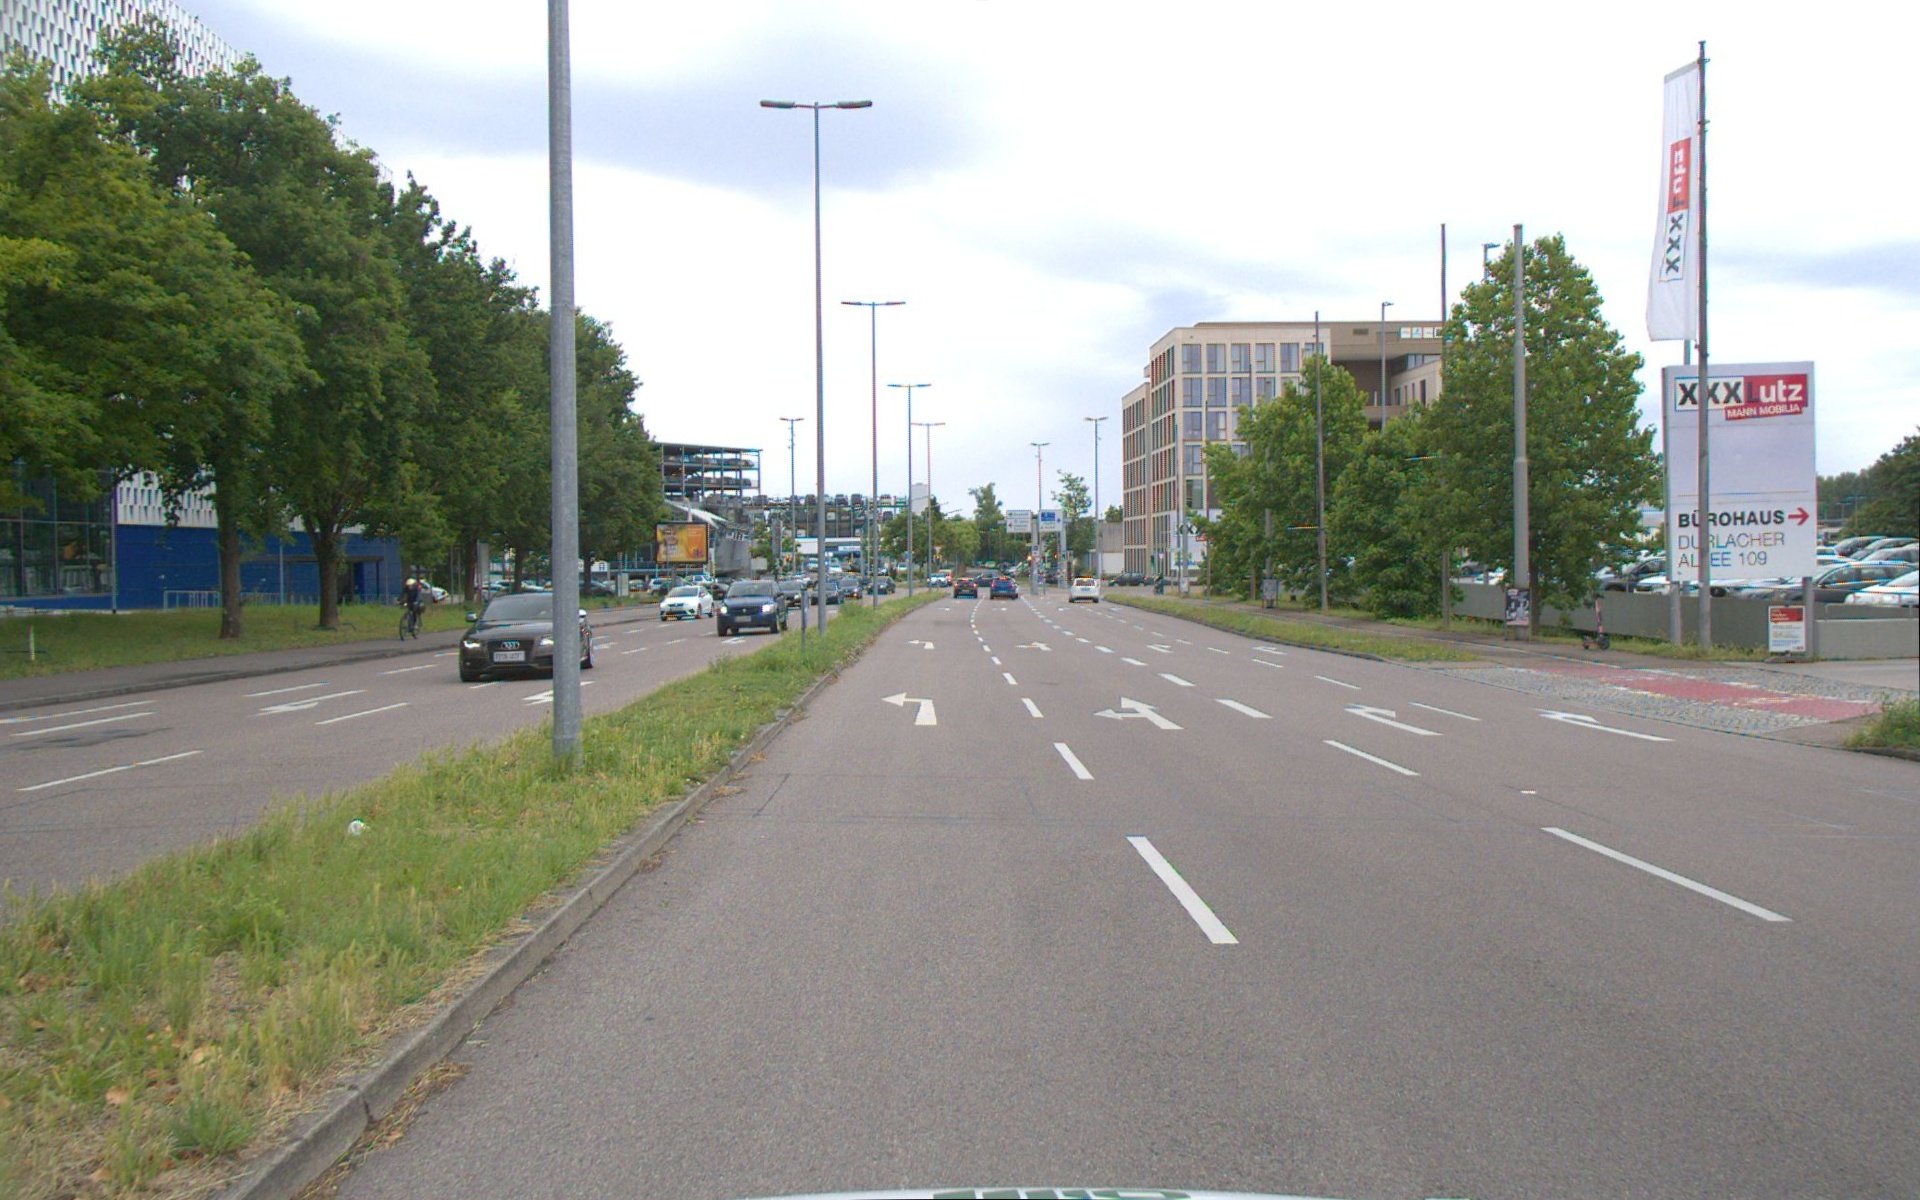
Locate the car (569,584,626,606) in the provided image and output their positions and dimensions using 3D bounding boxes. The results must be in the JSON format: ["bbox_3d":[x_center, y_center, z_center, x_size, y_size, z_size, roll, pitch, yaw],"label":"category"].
[{"bbox_3d":[-30.695,-0.401,140.270,4.456,1.688,1.998,-2,2,-6],"label":"car"}]

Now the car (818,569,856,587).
[{"bbox_3d":[-12.771,-2.294,171.651,3.908,1.821,1.846,-1,3,-4],"label":"car"}]

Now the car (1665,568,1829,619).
[{"bbox_3d":[23.096,-0.197,48.622,3.972,1.373,1.835,-1,3,-2],"label":"car"}]

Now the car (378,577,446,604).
[{"bbox_3d":[-46.139,-0.829,139.421,5.031,1.997,1.880,-1,4,-4],"label":"car"}]

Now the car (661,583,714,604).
[{"bbox_3d":[-23.234,-0.567,140.970,4.331,1.689,1.997,-1,0,-6],"label":"car"}]

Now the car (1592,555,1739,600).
[{"bbox_3d":[23.188,-0.766,54.447,4.068,1.373,1.810,-1,3,-2],"label":"car"}]

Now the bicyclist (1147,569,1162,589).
[{"bbox_3d":[15.090,-1.635,128.200,0.694,1.530,0.988,-1,2,-36],"label":"bicyclist"}]

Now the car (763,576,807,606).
[{"bbox_3d":[-9.135,-0.494,86.585,1.722,1.478,4.001,-3,1,1],"label":"car"}]

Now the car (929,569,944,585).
[{"bbox_3d":[-2.487,-2.437,175.391,1.567,1.478,3.325,-1,3,1],"label":"car"}]

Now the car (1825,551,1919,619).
[{"bbox_3d":[23.050,-0.384,38.985,4.284,1.486,1.962,-1,3,1],"label":"car"}]

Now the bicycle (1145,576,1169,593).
[{"bbox_3d":[15.226,-1.206,128.029,0.694,1.318,1.986,-1,2,-35],"label":"bicycle"}]

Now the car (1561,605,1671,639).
[{"bbox_3d":[27.745,0.907,70.022,3.972,1.374,1.763,0,1,-2],"label":"car"}]

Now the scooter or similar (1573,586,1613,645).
[{"bbox_3d":[13.594,0.320,35.557,0.362,1.211,1.248,-1,1,-1],"label":"scooter or similar"}]

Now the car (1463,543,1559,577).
[{"bbox_3d":[22.787,-1.675,68.433,3.445,1.330,1.605,-1,3,-6],"label":"car"}]

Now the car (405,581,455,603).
[{"bbox_3d":[-45.847,-0.682,143.124,3.685,1.776,1.880,-1,3,-3],"label":"car"}]

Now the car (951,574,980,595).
[{"bbox_3d":[0.364,-1.115,119.495,1.947,1.453,4.240,-1,0,-1],"label":"car"}]

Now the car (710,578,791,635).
[{"bbox_3d":[-6.117,0.152,48.720,1.892,1.511,4.438,-2,1,-2],"label":"car"}]

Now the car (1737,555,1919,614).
[{"bbox_3d":[23.295,-0.419,43.984,4.373,1.443,1.868,-1,3,1],"label":"car"}]

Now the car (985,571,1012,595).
[{"bbox_3d":[2.656,-1.207,114.789,1.797,1.540,4.001,0,2,0],"label":"car"}]

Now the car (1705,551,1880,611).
[{"bbox_3d":[23.183,-0.551,46.156,3.970,1.567,1.764,-1,3,1],"label":"car"}]

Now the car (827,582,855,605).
[{"bbox_3d":[-8.634,-0.491,120.353,1.744,1.481,4.182,-2,1,0],"label":"car"}]

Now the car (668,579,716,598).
[{"bbox_3d":[-25.238,-1.101,155.821,4.331,1.689,1.997,-1,0,-6],"label":"car"}]

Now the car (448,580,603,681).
[{"bbox_3d":[-7.359,0.456,28.428,1.847,1.461,4.426,-3,2,-6],"label":"car"}]

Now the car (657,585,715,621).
[{"bbox_3d":[-12.058,0.114,72.965,1.828,1.479,4.168,-2,0,0],"label":"car"}]

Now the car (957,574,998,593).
[{"bbox_3d":[1.668,-1.549,157.522,3.781,1.663,1.723,-1,3,-6],"label":"car"}]

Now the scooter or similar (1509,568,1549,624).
[{"bbox_3d":[14.989,-0.107,43.627,0.636,1.446,1.820,-1,0,8],"label":"scooter or similar"}]

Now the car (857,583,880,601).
[{"bbox_3d":[-7.834,-0.729,141.004,1.893,1.481,4.179,0,1,-4],"label":"car"}]

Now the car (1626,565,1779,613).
[{"bbox_3d":[23.040,-0.348,51.425,3.972,1.373,1.764,-1,3,-2],"label":"car"}]

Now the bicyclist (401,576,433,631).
[{"bbox_3d":[-16.429,0.098,50.063,0.627,1.605,1.000,1,1,-1],"label":"bicyclist"}]

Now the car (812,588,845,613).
[{"bbox_3d":[-8.289,0.027,104.566,1.736,1.477,4.405,-3,0,0],"label":"car"}]

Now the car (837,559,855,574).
[{"bbox_3d":[-14.868,-4.360,215.574,1.738,1.735,3.920,0,3,5],"label":"car"}]

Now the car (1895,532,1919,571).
[{"bbox_3d":[35.212,-1.732,58.385,3.494,1.319,1.668,-1,3,0],"label":"car"}]

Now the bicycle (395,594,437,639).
[{"bbox_3d":[-16.452,0.489,50.050,0.629,1.272,2.056,1,1,-1],"label":"bicycle"}]

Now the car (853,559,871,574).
[{"bbox_3d":[-12.722,-4.382,215.601,1.738,1.735,3.920,0,3,5],"label":"car"}]

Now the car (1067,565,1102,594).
[{"bbox_3d":[7.773,-1.294,103.274,1.952,1.782,4.181,0,1,1],"label":"car"}]
